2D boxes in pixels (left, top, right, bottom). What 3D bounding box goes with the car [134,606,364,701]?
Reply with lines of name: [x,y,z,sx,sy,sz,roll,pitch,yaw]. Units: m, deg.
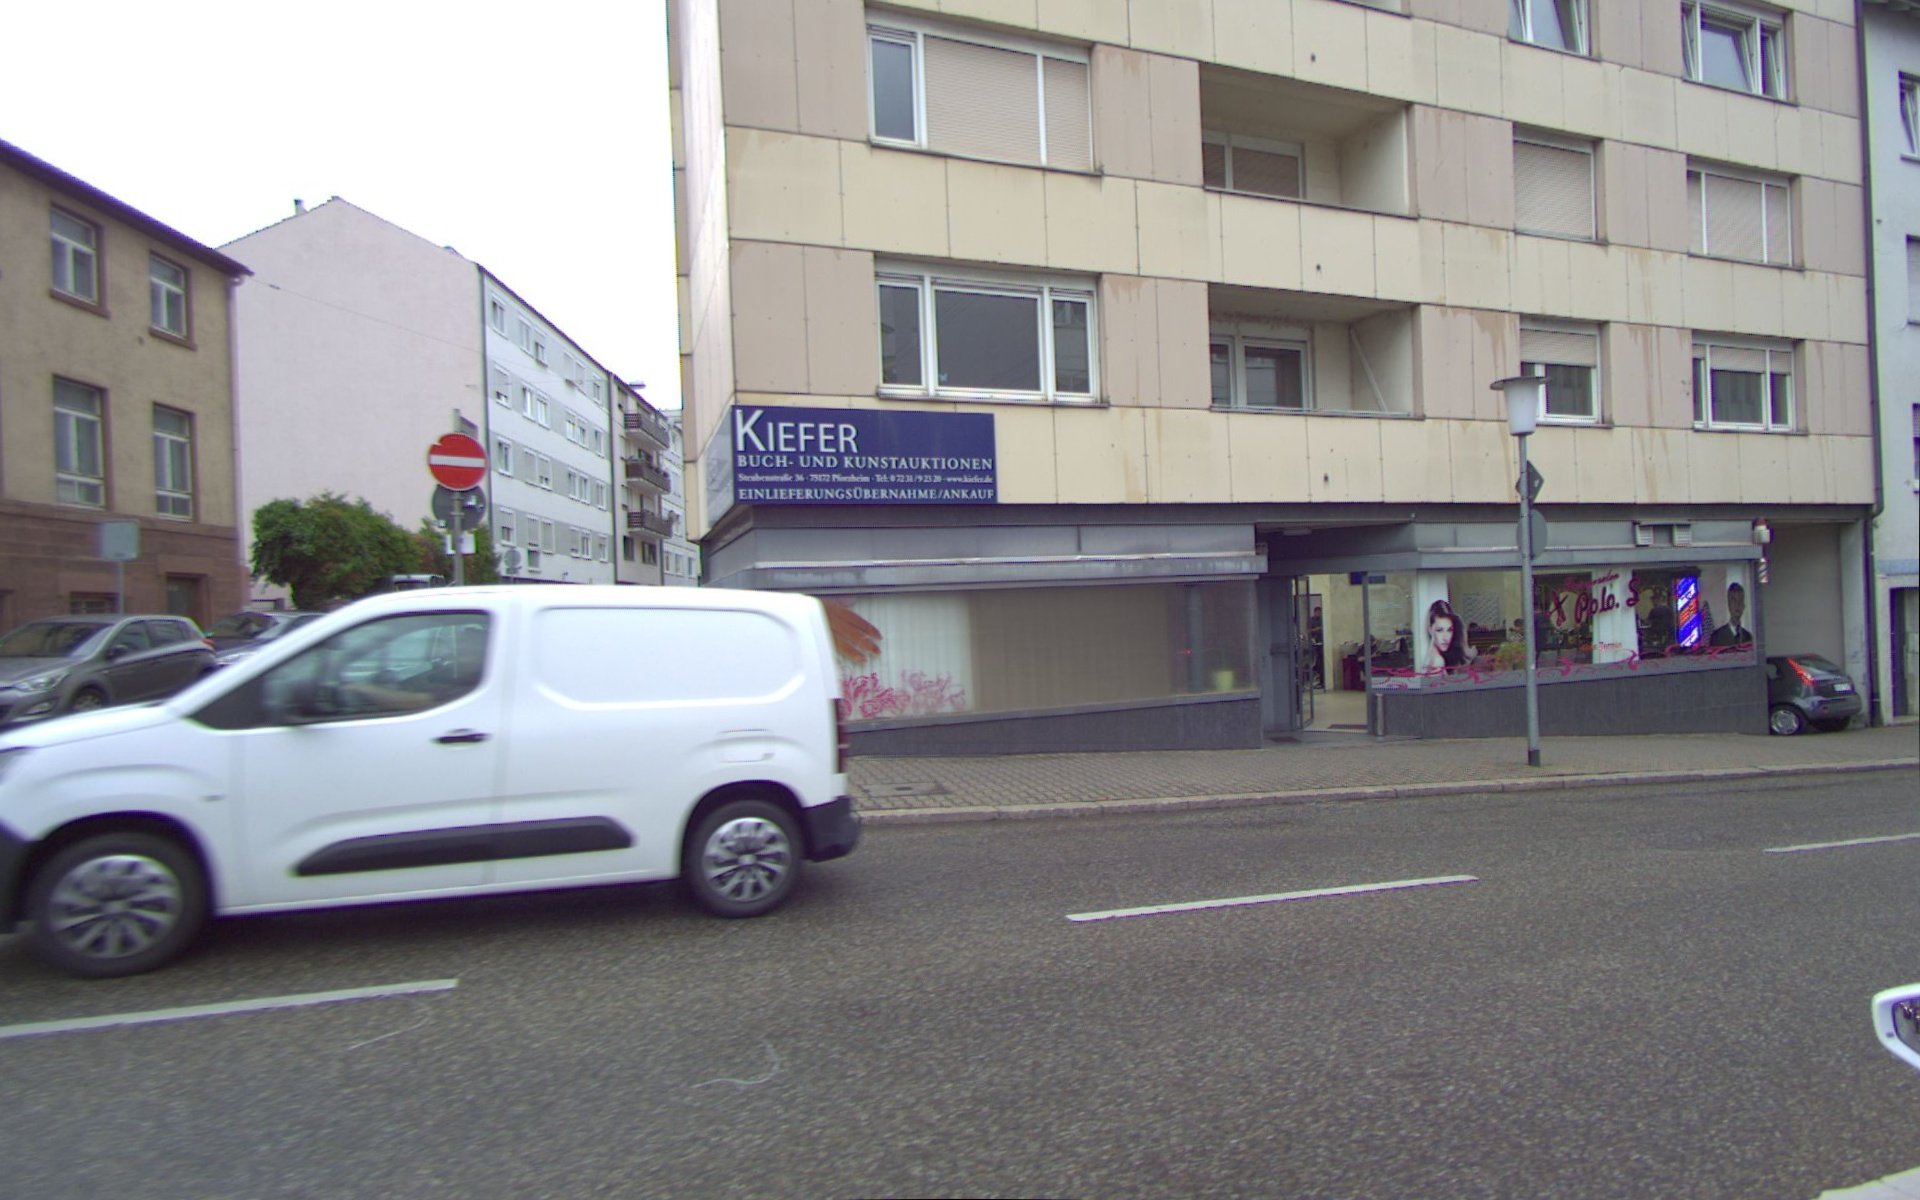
car: [-12.923,0.909,18.546,1.719,1.486,3.513,-2,0,-1]

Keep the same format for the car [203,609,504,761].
car: [-7.279,0.903,12.625,1.722,1.524,4.358,1,0,-10]

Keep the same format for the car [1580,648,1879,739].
car: [14.073,1.798,18.652,1.657,1.366,3.978,-1,-8,-27]

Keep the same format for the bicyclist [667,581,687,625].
bicyclist: [-11.831,0.136,41.971,0.638,1.833,0.823,1,-1,-6]

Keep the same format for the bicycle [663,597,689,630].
bicycle: [-11.828,0.560,41.899,0.638,1.334,2.236,1,-1,-6]

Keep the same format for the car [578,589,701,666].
car: [-7.297,0.594,23.293,1.720,1.604,3.998,1,0,-3]

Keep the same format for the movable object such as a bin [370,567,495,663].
movable object such as a bin: [-14.830,0.384,28.462,1.721,2.466,3.996,-2,0,-7]

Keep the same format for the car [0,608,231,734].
car: [-12.253,0.894,13.955,1.721,1.486,3.809,-2,0,-7]

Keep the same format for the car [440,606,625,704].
car: [-7.400,0.881,17.824,1.720,1.486,3.998,1,0,-3]

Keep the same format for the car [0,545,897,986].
car: [-2.641,0.765,5.724,4.203,1.827,1.859,1,-3,-22]
